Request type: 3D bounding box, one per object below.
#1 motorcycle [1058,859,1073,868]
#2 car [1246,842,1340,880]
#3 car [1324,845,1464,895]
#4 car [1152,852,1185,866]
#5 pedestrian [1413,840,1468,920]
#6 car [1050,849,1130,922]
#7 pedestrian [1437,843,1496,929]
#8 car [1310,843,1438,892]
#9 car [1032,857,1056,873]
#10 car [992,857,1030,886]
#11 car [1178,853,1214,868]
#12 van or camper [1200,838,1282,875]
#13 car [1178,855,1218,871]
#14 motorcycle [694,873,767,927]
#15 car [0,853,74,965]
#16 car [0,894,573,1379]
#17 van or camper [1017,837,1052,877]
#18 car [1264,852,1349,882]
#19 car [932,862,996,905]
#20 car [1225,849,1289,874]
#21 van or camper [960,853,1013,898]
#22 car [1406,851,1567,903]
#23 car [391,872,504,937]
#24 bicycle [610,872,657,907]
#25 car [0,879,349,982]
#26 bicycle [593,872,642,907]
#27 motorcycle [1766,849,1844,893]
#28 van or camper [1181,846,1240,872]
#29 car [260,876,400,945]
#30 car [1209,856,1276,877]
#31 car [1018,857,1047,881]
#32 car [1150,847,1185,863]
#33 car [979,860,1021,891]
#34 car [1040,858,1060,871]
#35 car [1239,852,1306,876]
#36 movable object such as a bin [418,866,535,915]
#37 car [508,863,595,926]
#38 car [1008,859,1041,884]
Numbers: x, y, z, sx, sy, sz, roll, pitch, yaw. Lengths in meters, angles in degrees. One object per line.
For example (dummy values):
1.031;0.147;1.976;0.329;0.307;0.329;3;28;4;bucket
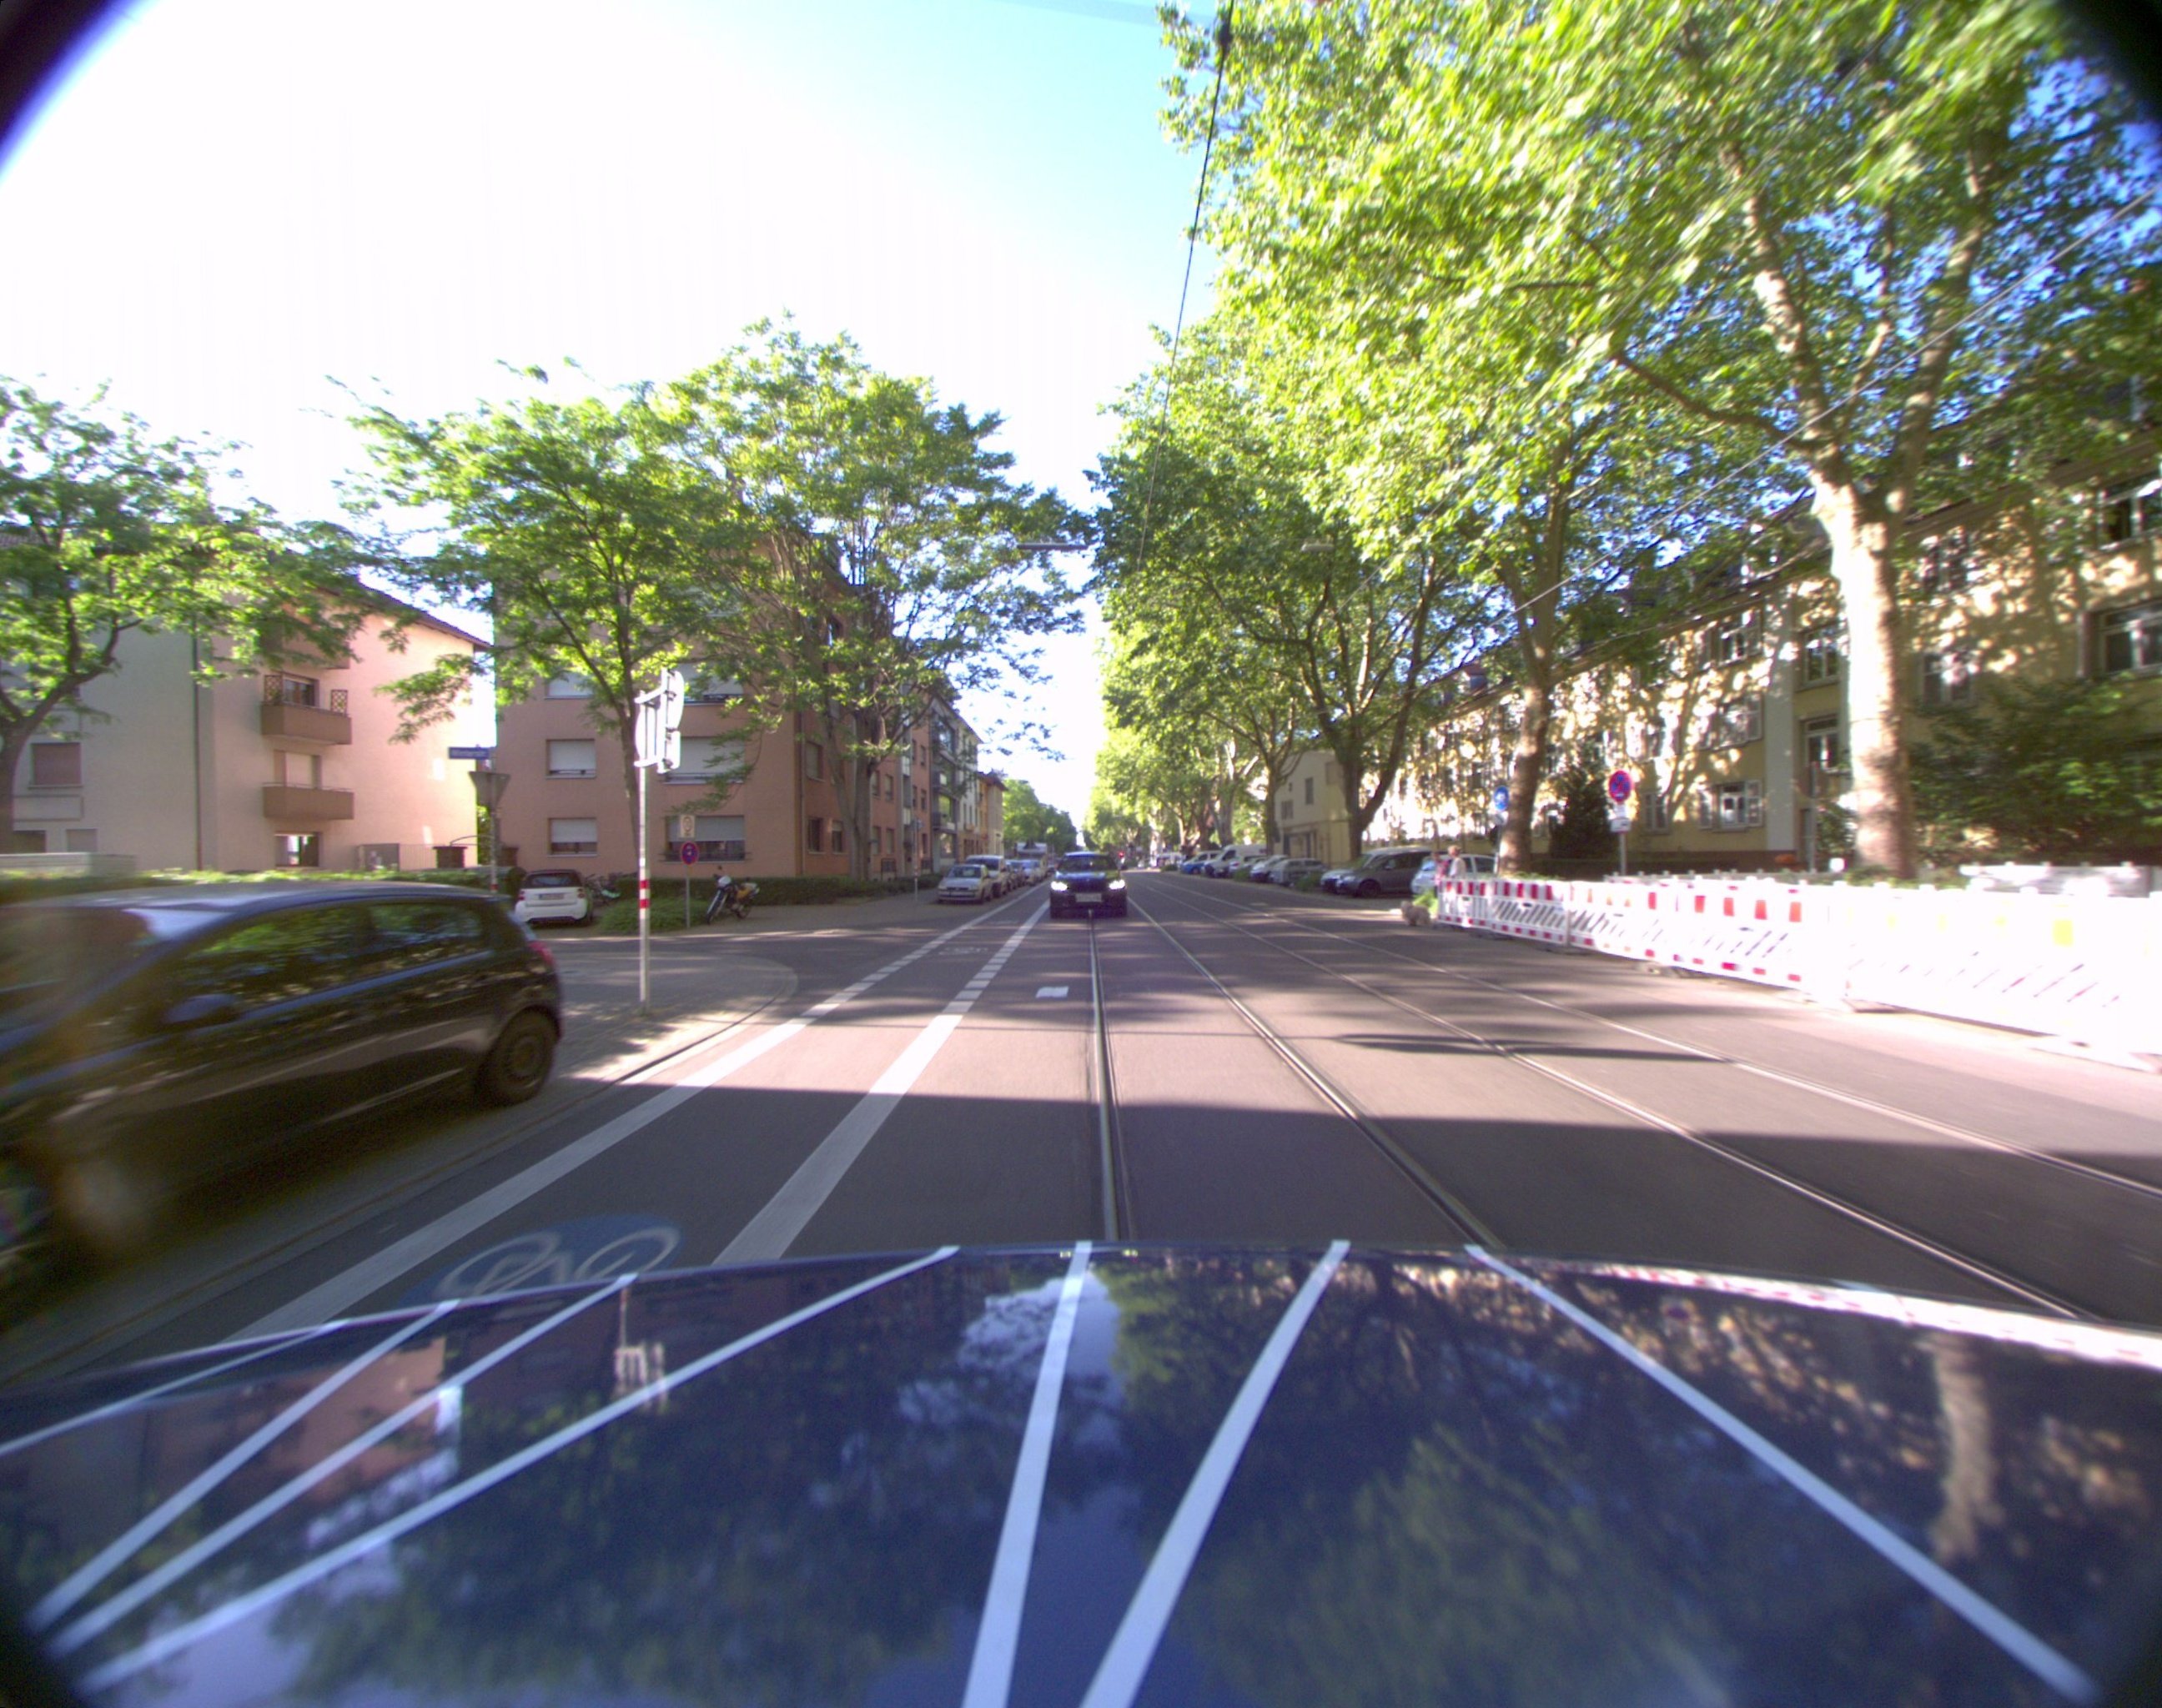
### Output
-2.211;1.339;107.480;2.071;1.152;0.828;2;1;4;motorcycle
11.750;0.373;42.301;4.669;1.934;1.961;-1;0;-2;car
11.002;0.554;26.956;4.242;1.678;1.934;0;0;8;car
12.477;0.719;108.668;4.464;1.755;2.028;-1;-1;-1;car
8.045;0.571;17.037;0.824;1.735;0.796;-2;1;1;pedestrian
0.236;0.776;21.017;1.924;1.741;4.806;-1;0;0;car
8.102;0.661;15.999;0.824;1.735;0.796;-2;1;1;pedestrian
11.187;0.501;29.199;4.210;1.747;1.739;-1;0;-2;car
-3.556;1.075;74.644;1.998;1.485;4.740;1;0;1;car
-4.075;0.962;44.528;1.772;1.563;4.337;1;0;0;car
12.345;0.665;81.705;3.689;1.545;1.704;-1;0;6;car
11.642;0.196;55.641;5.403;2.501;2.445;-1;0;0;van or camper
11.876;0.904;77.122;3.693;1.615;1.799;-1;0;-4;car
-9.315;1.197;20.321;0.679;1.290;2.258;-1;1;7;motorcycle
-19.525;0.895;11.997;4.732;1.782;2.006;-1;0;2;car
-4.481;1.023;3.413;1.738;1.453;3.916;1;0;0;car
-3.726;0.262;61.706;2.468;3.046;6.267;1;0;-1;van or camper
11.686;0.651;39.538;3.857;1.489;1.862;0;0;1;car
-4.263;1.044;28.266;1.710;1.464;4.000;0;0;0;car
11.782;0.499;50.986;3.857;1.653;1.862;0;0;1;car
-4.086;0.900;33.565;1.759;1.853;4.830;0;0;0;van or camper
12.066;0.659;22.812;3.857;1.489;1.862;0;0;1;car
-16.697;1.264;20.221;1.730;1.452;3.936;-1;0;-32;car
-15.355;1.193;26.108;0.513;1.093;1.775;-2;1;1;bicycle
-14.420;1.181;12.132;3.923;1.473;1.562;-1;-2;0;car
-15.907;1.211;26.112;0.513;1.093;1.775;-2;1;1;bicycle
20.997;0.484;22.059;1.714;1.234;0.523;-1;0;2;motorcycle
11.624;0.422;68.415;4.832;2.177;2.119;-1;0;0;van or camper
-18.968;1.341;19.390;1.669;1.452;3.936;-1;0;-32;car
11.231;0.845;53.061;4.274;1.390;1.753;0;0;1;car
-3.457;1.025;55.098;1.797;1.618;4.276;1;0;0;car
12.980;0.155;114.066;5.019;2.383;2.028;-1;0;-1;car
-4.140;1.072;39.528;1.710;1.464;4.168;0;0;0;car
-3.425;1.114;83.982;1.998;1.372;4.739;1;0;0;car
12.211;0.617;48.683;3.857;1.489;1.862;0;0;1;car
-19.141;1.130;24.138;2.547;1.411;1.377;-1;2;-2;movable object such as a bin
-14.691;1.048;21.250;1.730;1.531;3.990;-1;0;-32;car
-3.645;1.079;49.627;1.793;1.513;4.322;1;0;-1;car
